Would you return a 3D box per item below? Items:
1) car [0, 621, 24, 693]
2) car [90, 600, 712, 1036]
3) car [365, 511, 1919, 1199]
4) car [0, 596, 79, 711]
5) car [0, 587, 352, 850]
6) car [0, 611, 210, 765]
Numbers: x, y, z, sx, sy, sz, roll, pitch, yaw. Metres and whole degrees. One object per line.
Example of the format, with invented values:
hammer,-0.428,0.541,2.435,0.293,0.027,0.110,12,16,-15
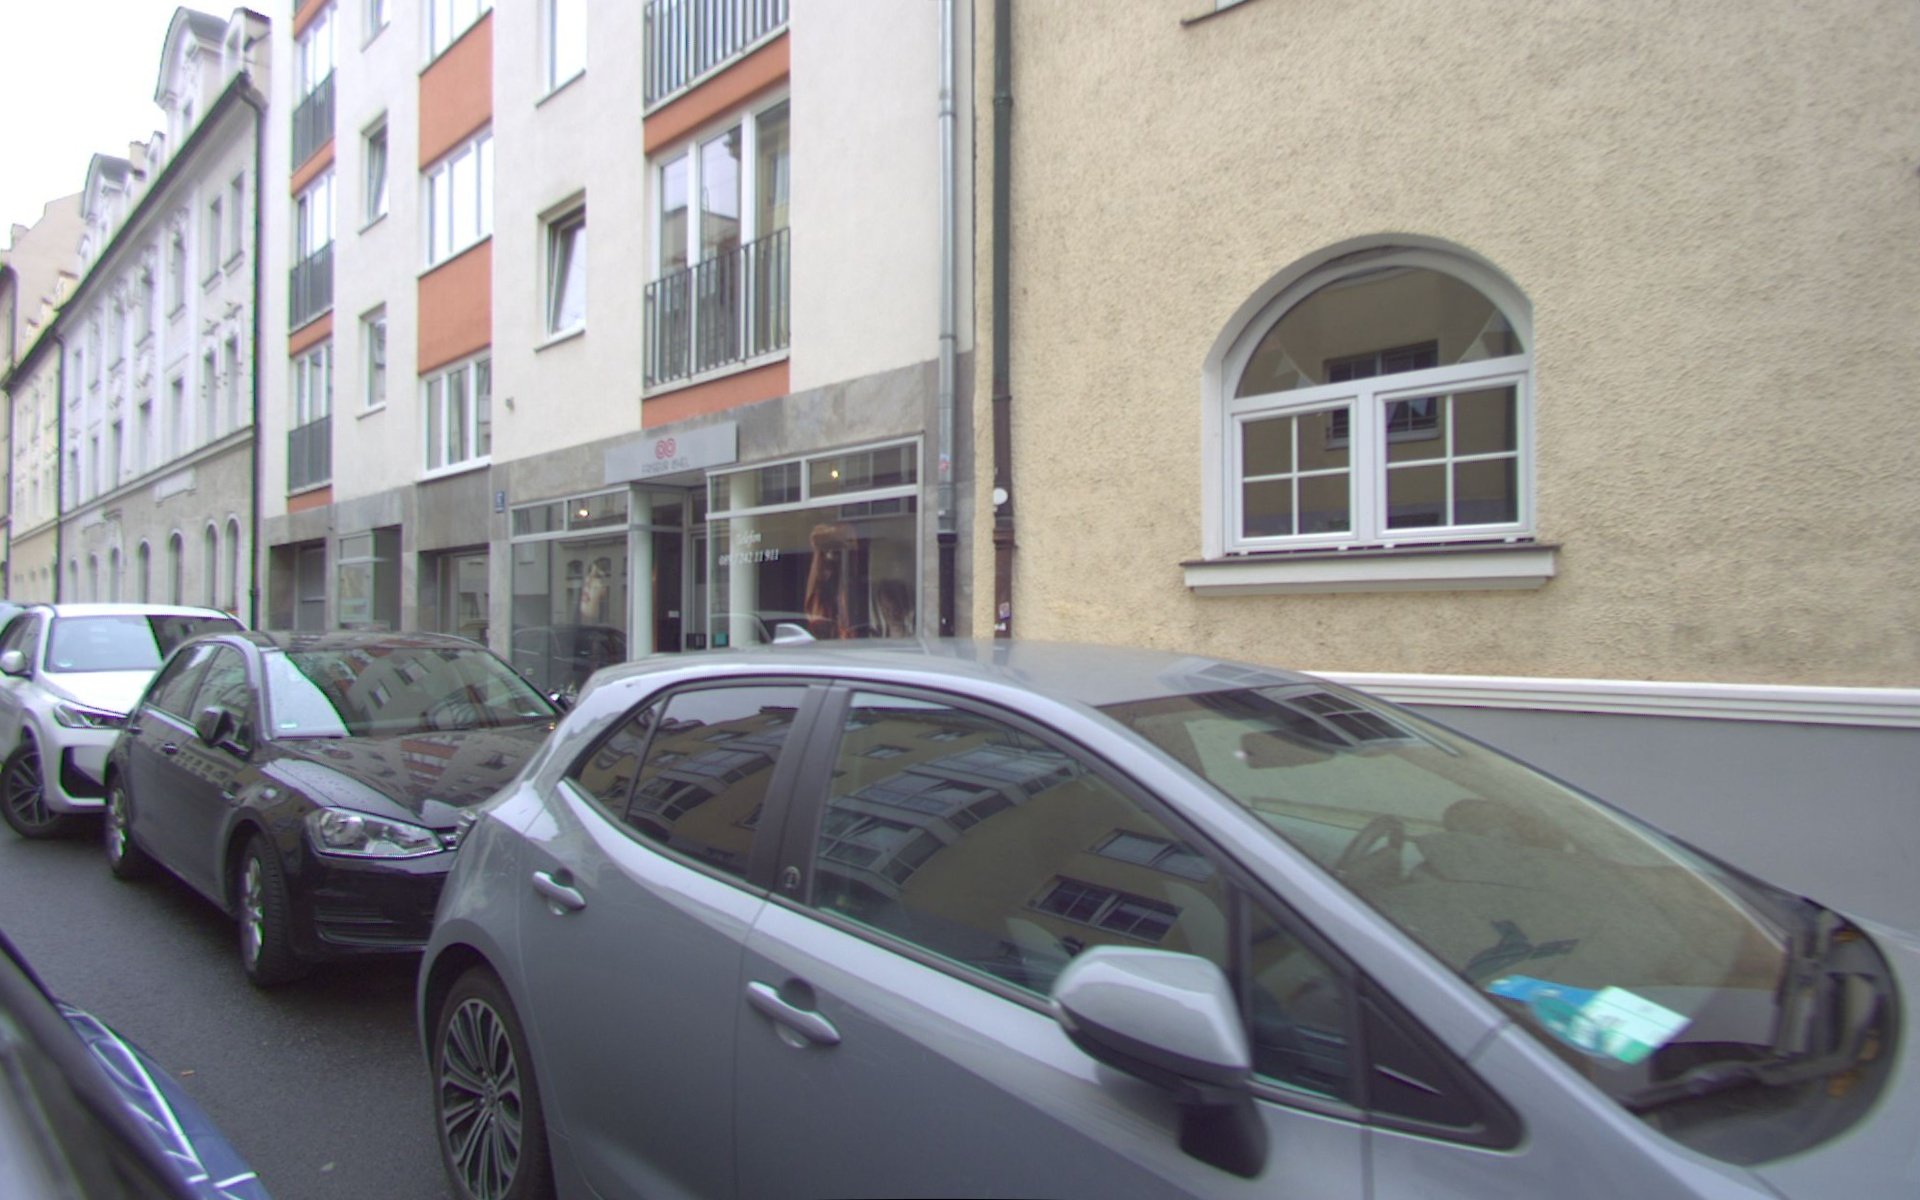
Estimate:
car,-21.915,1.188,21.956,3.714,1.490,1.926,-1,-4,41
car,-3.145,0.823,5.357,3.839,1.486,1.611,-2,-4,41
car,0.479,0.718,2.020,4.111,1.486,1.654,0,-3,42
car,-17.657,0.917,18.263,4.906,1.875,1.926,-1,-4,41
car,-6.854,0.810,8.263,4.302,1.617,1.764,-1,-4,38
car,-10.250,0.937,11.729,4.027,1.486,1.611,-2,-4,41
